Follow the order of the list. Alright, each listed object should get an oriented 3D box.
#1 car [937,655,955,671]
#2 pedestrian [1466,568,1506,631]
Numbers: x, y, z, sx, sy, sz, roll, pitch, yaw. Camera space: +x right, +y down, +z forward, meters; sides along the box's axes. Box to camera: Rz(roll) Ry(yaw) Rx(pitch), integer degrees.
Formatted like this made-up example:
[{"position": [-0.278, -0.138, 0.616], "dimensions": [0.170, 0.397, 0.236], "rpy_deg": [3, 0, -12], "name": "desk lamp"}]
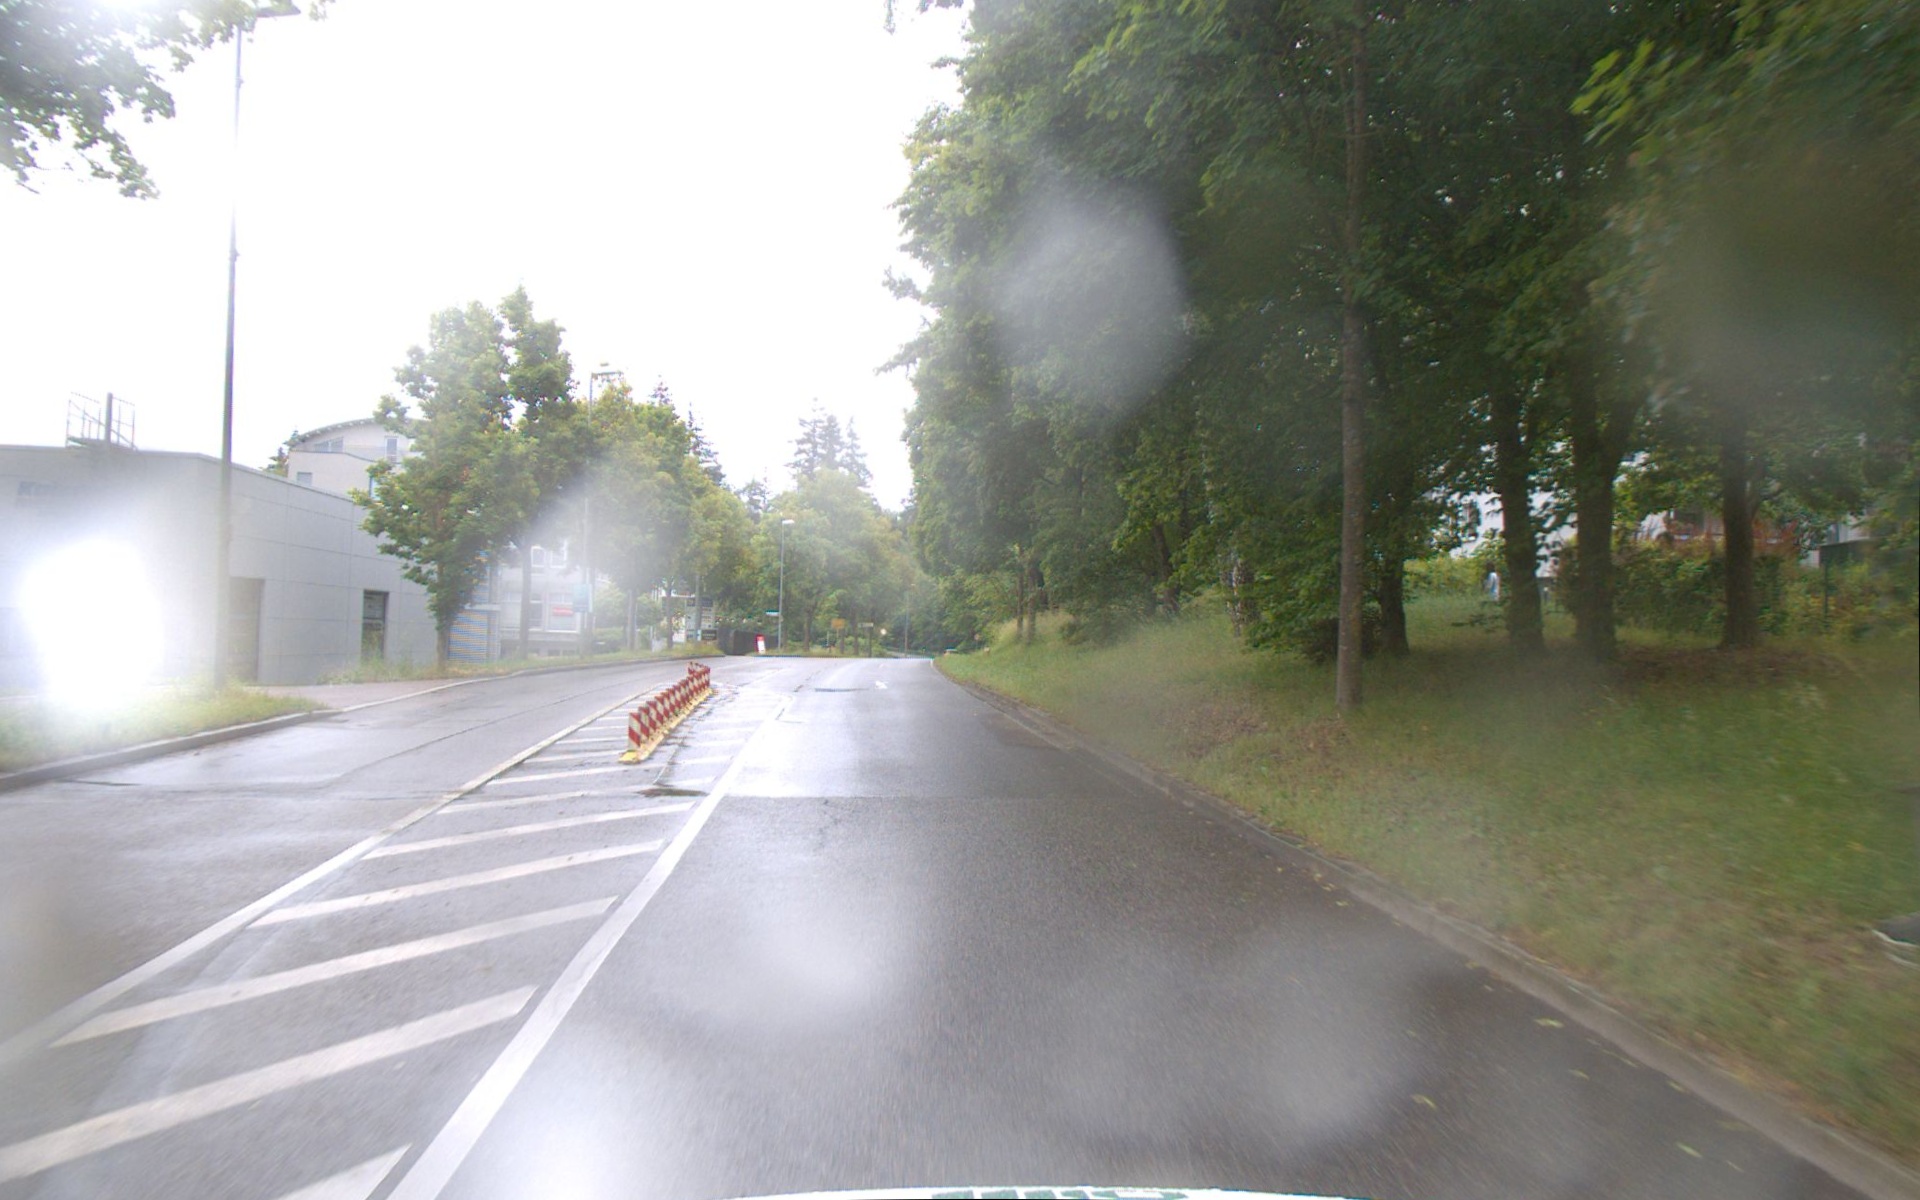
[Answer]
[{"position": [-1.330, 6.080, 159.896], "dimensions": [1.701, 1.537, 3.999], "rpy_deg": [-1, -2, 0], "name": "car"}, {"position": [11.154, -0.016, 35.090], "dimensions": [0.641, 1.306, 0.625], "rpy_deg": [-1, 0, 0], "name": "pedestrian"}]
